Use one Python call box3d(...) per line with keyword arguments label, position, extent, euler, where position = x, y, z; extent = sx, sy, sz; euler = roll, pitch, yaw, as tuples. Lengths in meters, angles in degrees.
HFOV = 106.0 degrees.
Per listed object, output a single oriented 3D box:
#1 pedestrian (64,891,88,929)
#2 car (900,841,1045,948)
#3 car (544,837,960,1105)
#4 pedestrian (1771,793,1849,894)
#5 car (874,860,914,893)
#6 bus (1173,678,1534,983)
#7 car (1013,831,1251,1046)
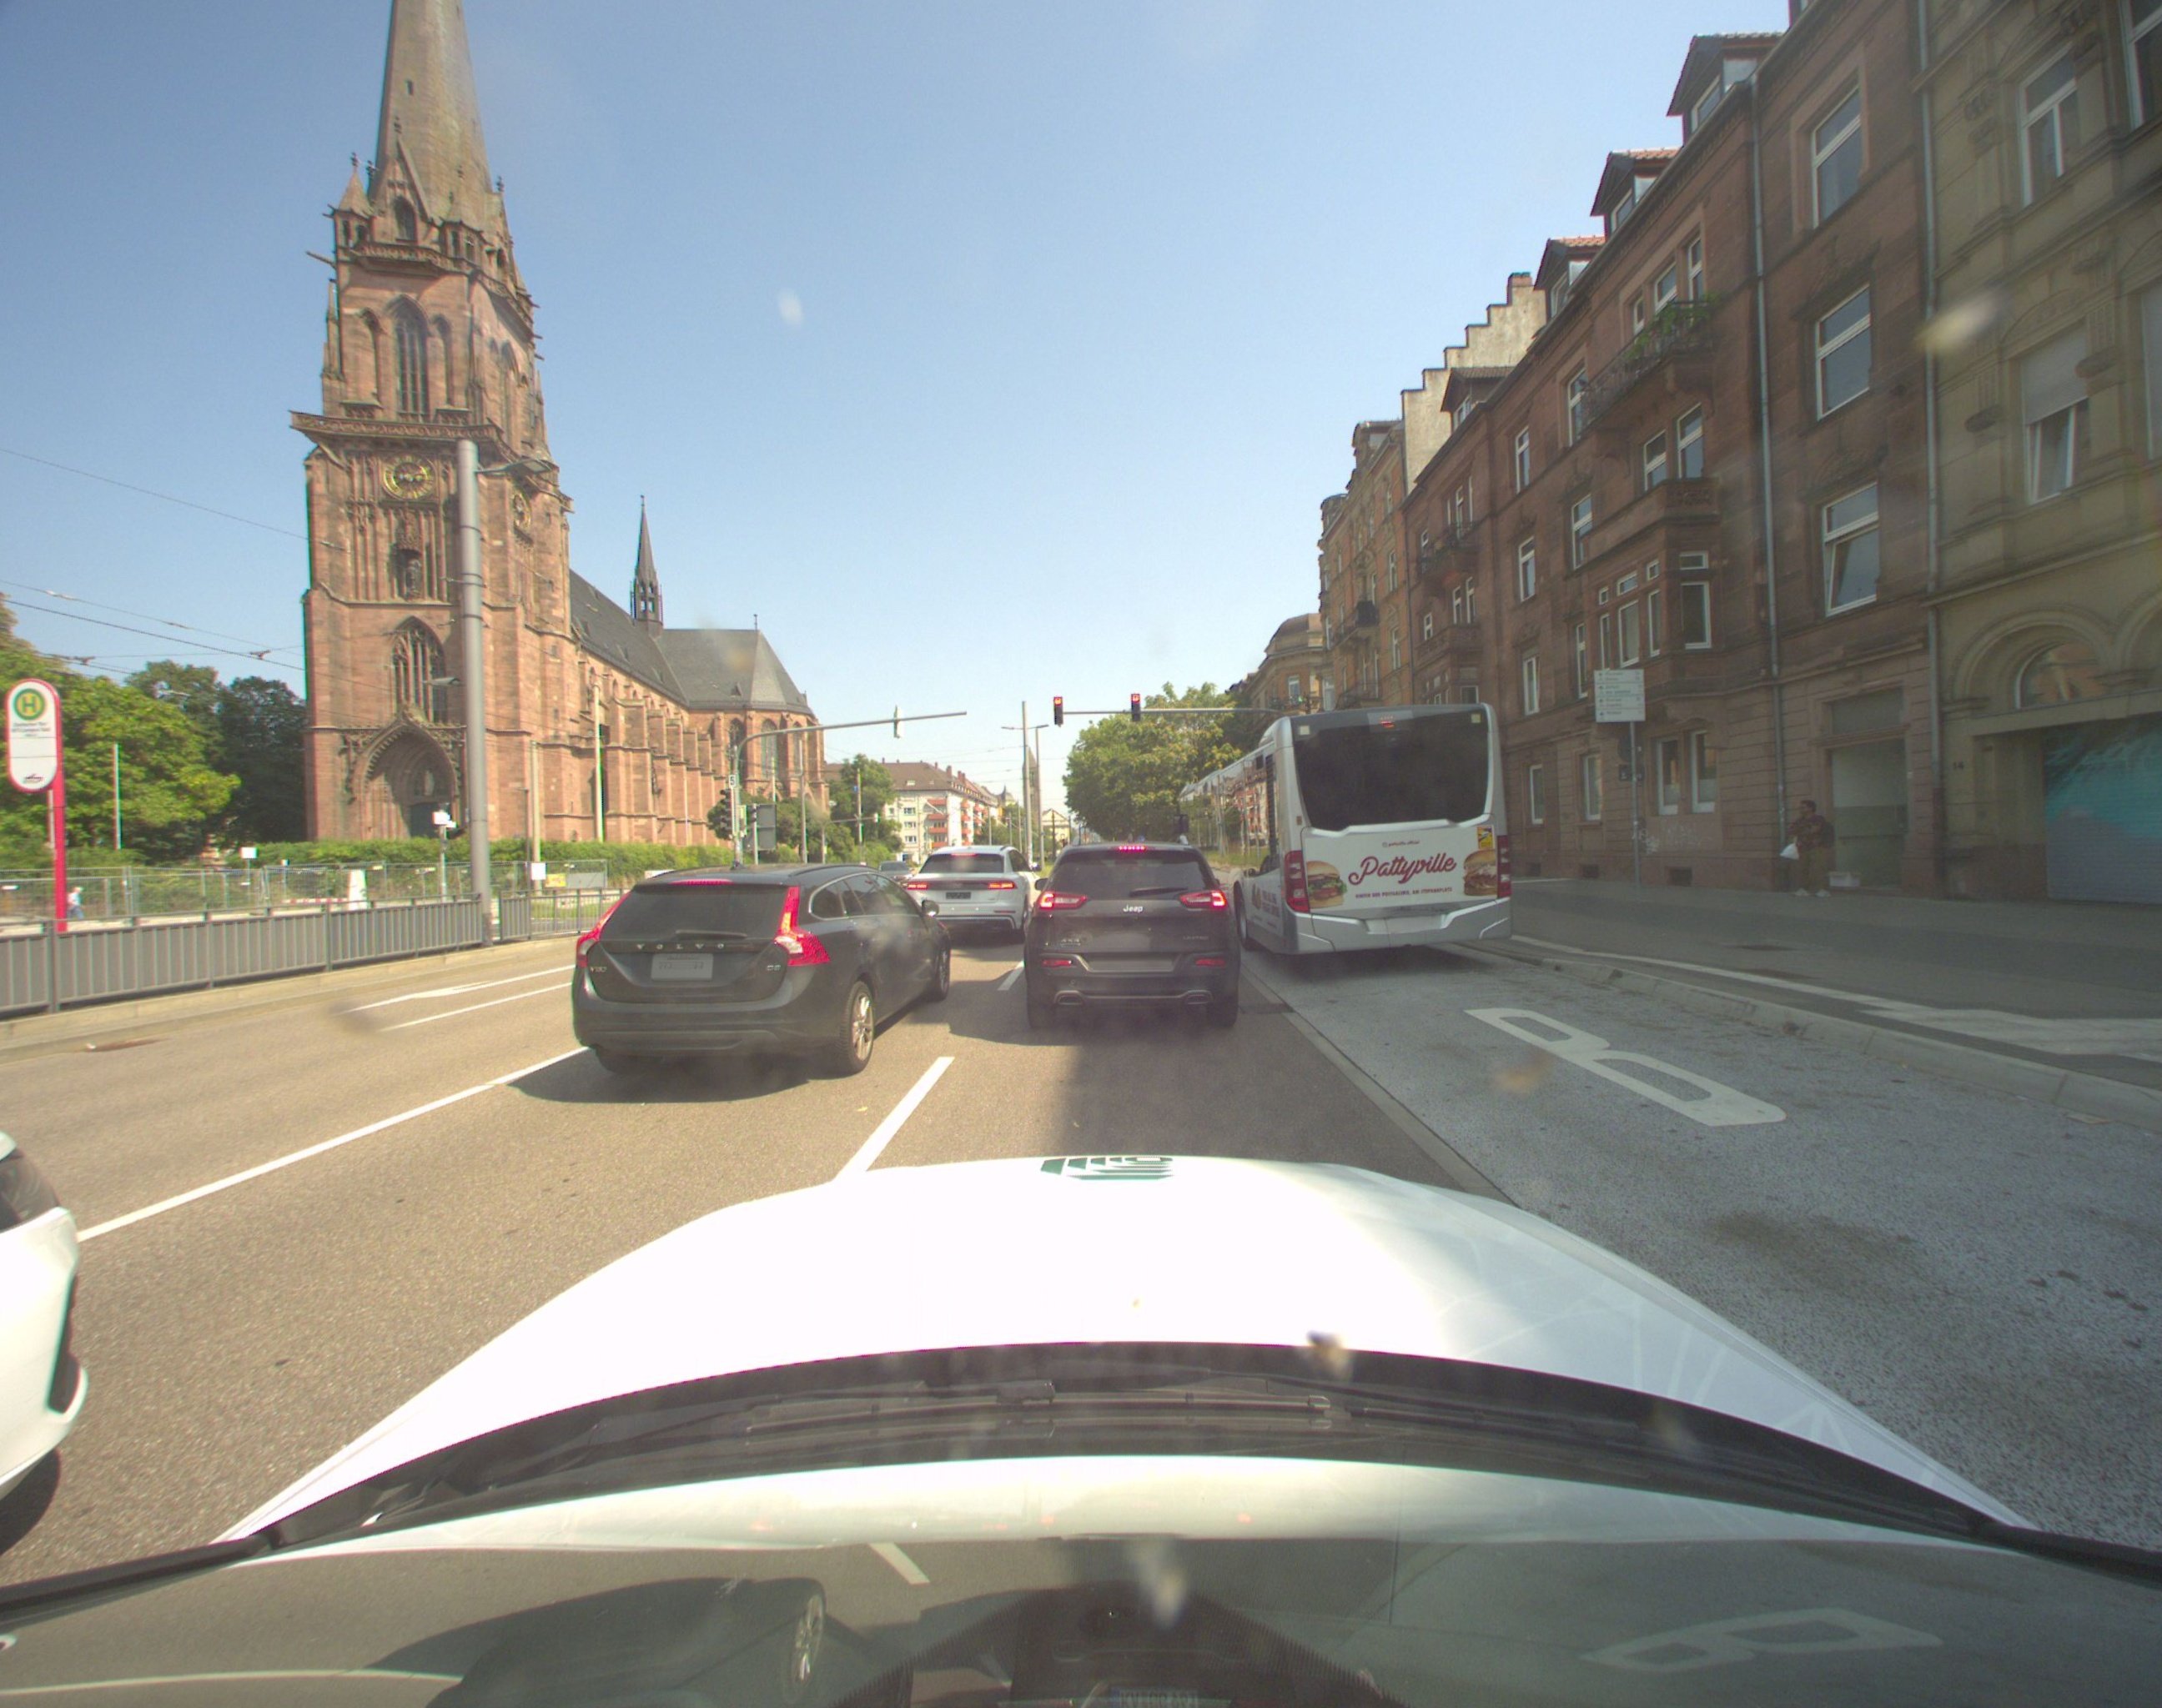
box3d(label="pedestrian", position=(-41.062, 2.282, 33.282), extent=(0.430, 1.531, 0.548), euler=(-3, 0, 36))
box3d(label="car", position=(-1.801, 0.624, 14.925), extent=(1.895, 1.651, 4.310), euler=(-1, 0, 2))
box3d(label="car", position=(-2.328, 0.708, 7.121), extent=(1.741, 1.614, 4.310), euler=(-1, 0, 2))
box3d(label="pedestrian", position=(13.260, -0.188, 14.818), extent=(0.872, 1.778, 0.737), euler=(-2, 0, -26))
box3d(label="car", position=(-9.340, 1.091, 40.857), extent=(1.748, 1.435, 4.554), euler=(-4, 0, -12))
box3d(label="bus", position=(3.635, -0.245, 14.832), extent=(2.733, 3.107, 11.961), euler=(-5, 0, 2))
box3d(label="car", position=(0.503, 0.652, 8.470), extent=(1.825, 1.651, 4.312), euler=(-1, 0, 3))
